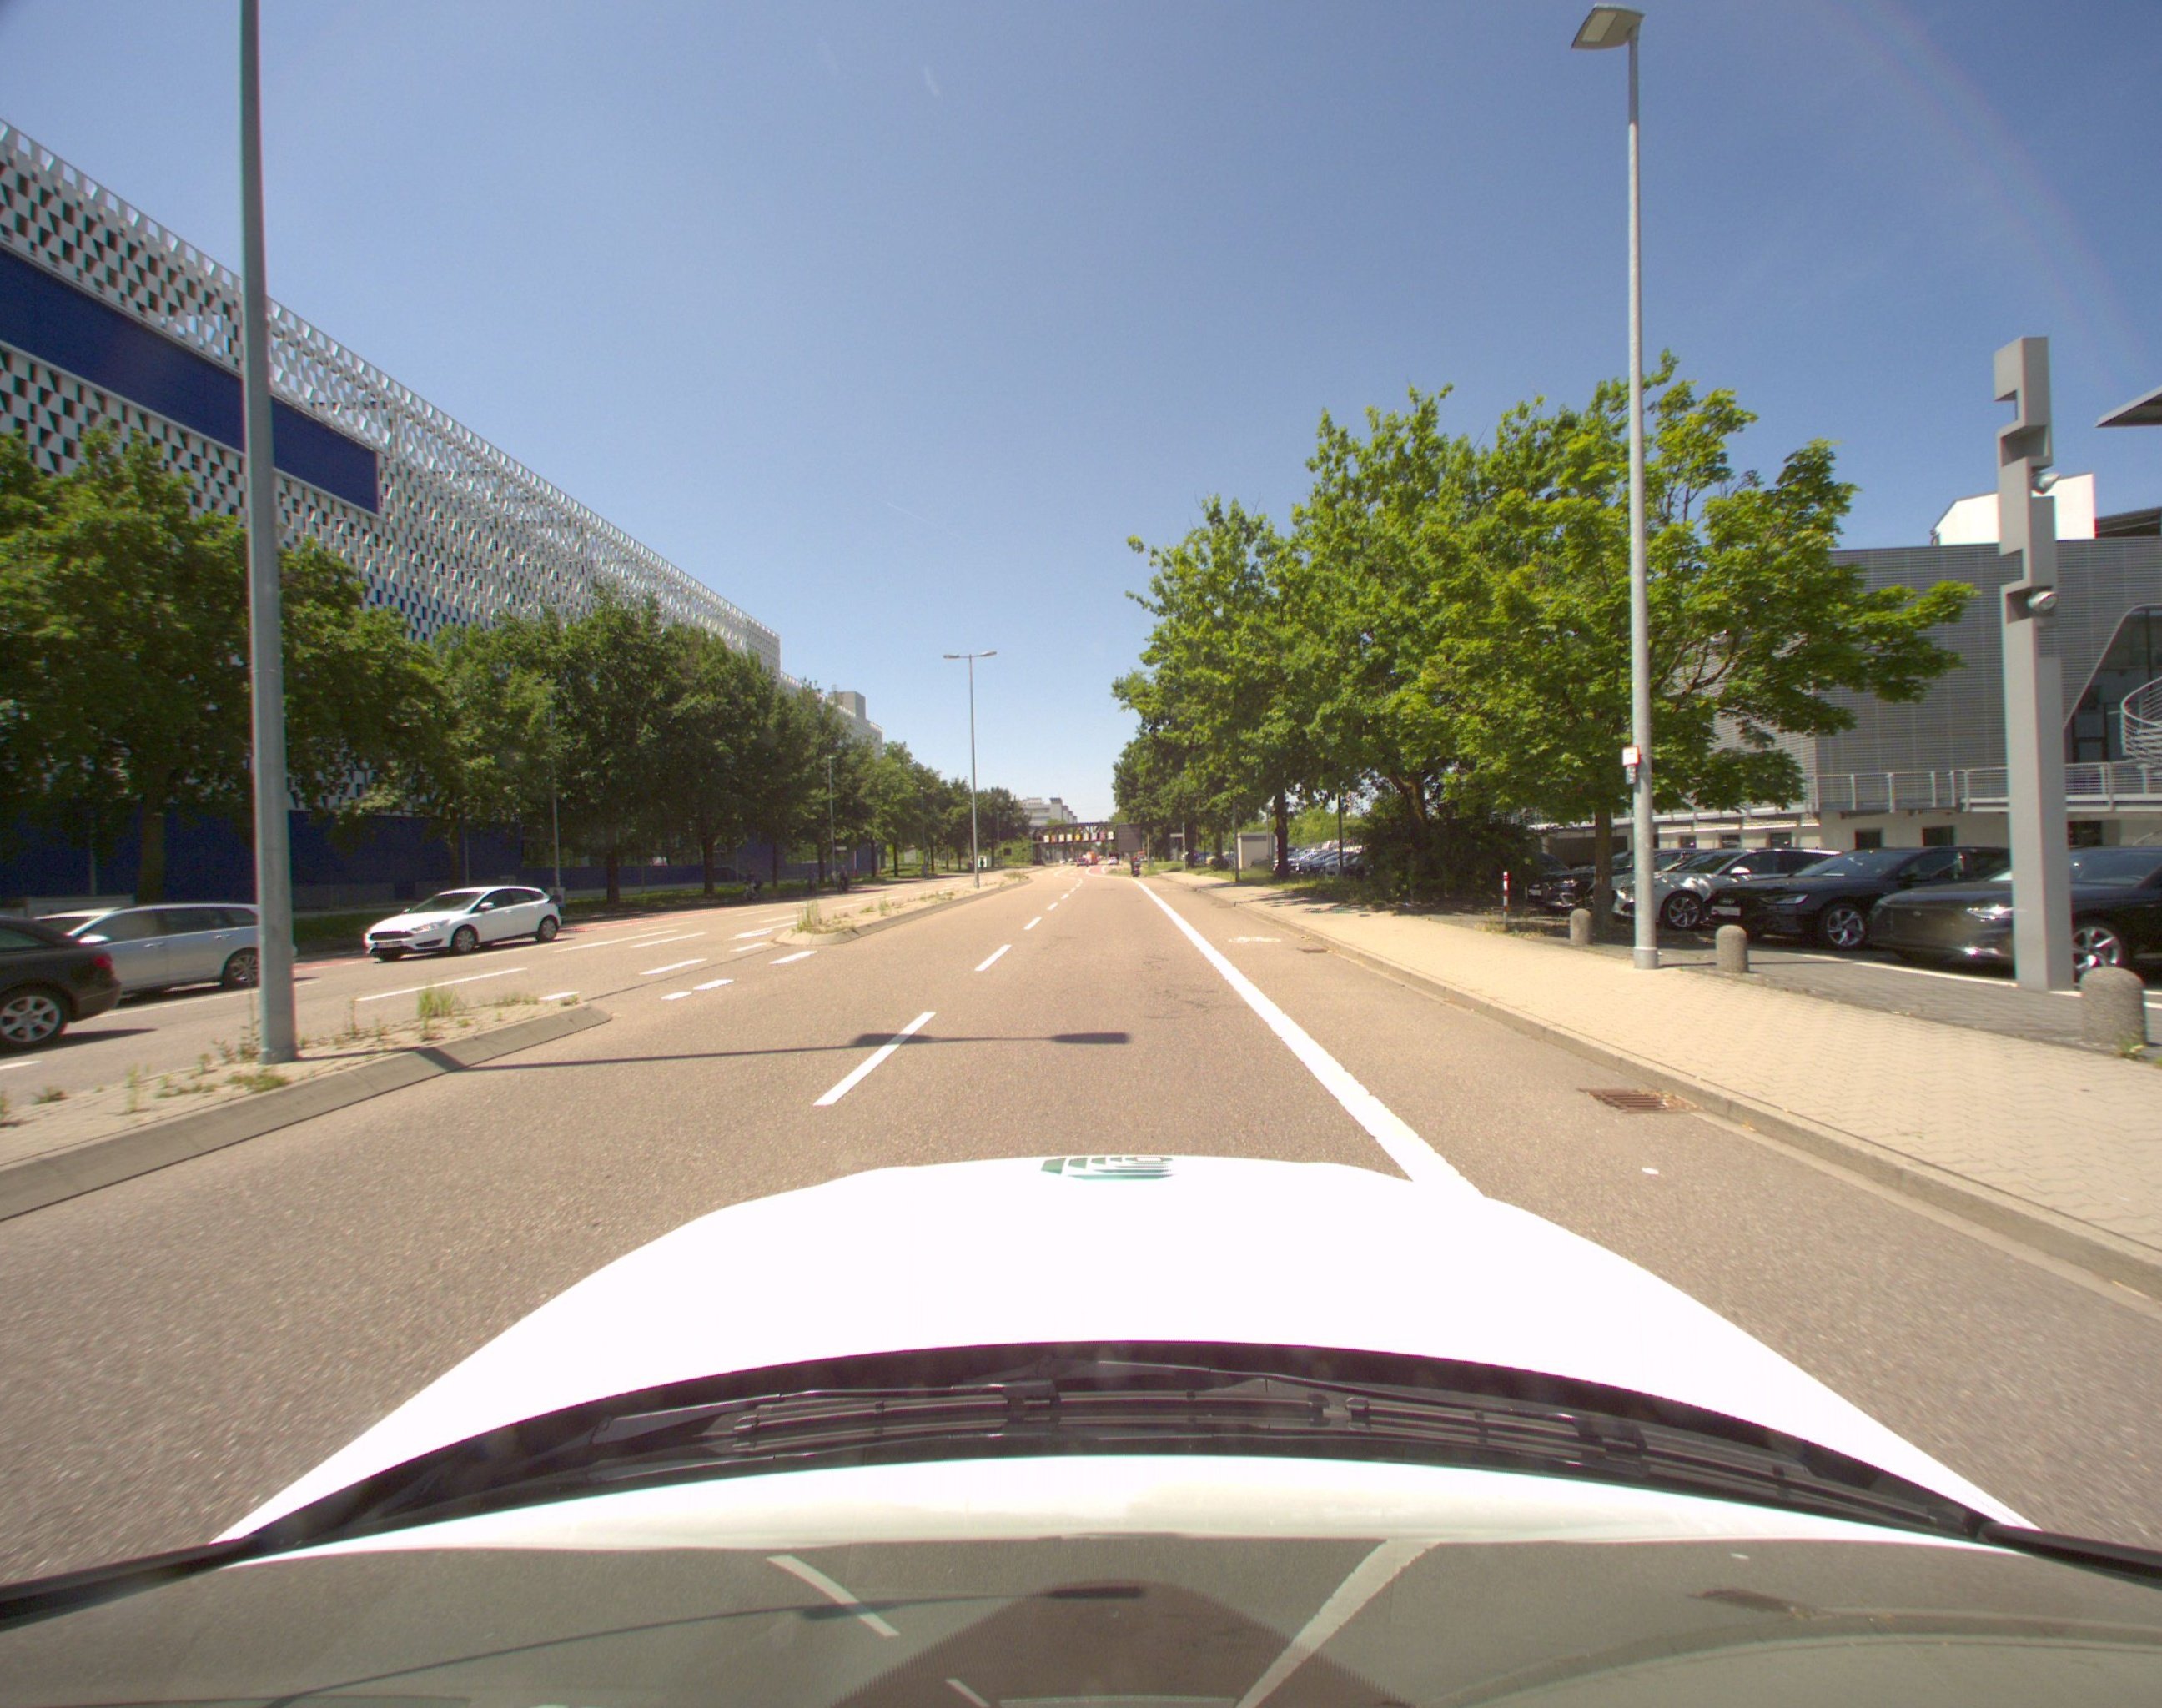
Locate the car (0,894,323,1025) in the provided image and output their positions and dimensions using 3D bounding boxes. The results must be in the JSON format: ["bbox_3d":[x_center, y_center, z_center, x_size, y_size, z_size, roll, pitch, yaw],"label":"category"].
[{"bbox_3d":[-14.365,1.474,12.105,1.740,1.422,4.624,-3,0,1],"label":"car"}]

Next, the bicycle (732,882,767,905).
[{"bbox_3d":[-17.958,2.144,44.169,0.736,1.125,2.437,-2,0,5],"label":"bicycle"}]

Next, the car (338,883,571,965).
[{"bbox_3d":[-14.035,1.490,18.647,1.720,1.446,4.453,-4,-1,2],"label":"car"}]

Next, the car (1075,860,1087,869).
[{"bbox_3d":[0.066,1.647,133.470,1.894,1.376,4.232,-2,0,1],"label":"car"}]

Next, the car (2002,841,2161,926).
[{"bbox_3d":[22.054,0.601,16.810,3.970,1.654,1.851,1,0,1],"label":"car"}]

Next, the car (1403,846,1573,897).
[{"bbox_3d":[12.733,0.543,25.667,4.432,1.393,1.834,2,0,1],"label":"car"}]

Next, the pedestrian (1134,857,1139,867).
[{"bbox_3d":[7.375,1.053,107.696,0.621,1.374,0.564,-1,-1,0],"label":"pedestrian"}]

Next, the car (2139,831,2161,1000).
[{"bbox_3d":[10.997,0.533,5.945,4.085,1.405,1.869,1,0,1],"label":"car"}]

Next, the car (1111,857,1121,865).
[{"bbox_3d":[6.666,1.375,155.053,1.917,1.420,4.001,-1,0,1],"label":"car"}]

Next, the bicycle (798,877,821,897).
[{"bbox_3d":[-16.921,2.052,50.829,0.634,1.134,1.973,-2,0,4],"label":"bicycle"}]

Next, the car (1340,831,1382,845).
[{"bbox_3d":[30.311,-1.705,88.256,3.977,1.312,1.795,-2,0,-3],"label":"car"}]

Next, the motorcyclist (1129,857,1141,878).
[{"bbox_3d":[4.019,0.988,60.241,0.719,1.529,0.868,0,-1,-8],"label":"motorcyclist"}]

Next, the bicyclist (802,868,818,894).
[{"bbox_3d":[-16.936,1.671,50.869,0.634,1.582,0.885,-2,-1,4],"label":"bicyclist"}]

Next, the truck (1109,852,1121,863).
[{"bbox_3d":[7.374,0.775,176.793,2.449,2.410,7.136,0,0,2],"label":"truck"}]

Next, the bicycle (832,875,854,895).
[{"bbox_3d":[-15.149,1.985,51.910,0.626,1.159,2.118,-4,0,1],"label":"bicycle"}]

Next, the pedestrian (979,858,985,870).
[{"bbox_3d":[-15.714,1.534,128.930,0.741,1.884,0.578,-2,-1,2],"label":"pedestrian"}]

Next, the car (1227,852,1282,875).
[{"bbox_3d":[14.114,0.765,66.351,3.977,1.618,1.796,3,-1,-3],"label":"car"}]

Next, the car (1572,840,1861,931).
[{"bbox_3d":[11.018,0.527,14.340,3.668,1.453,1.834,1,0,1],"label":"car"}]

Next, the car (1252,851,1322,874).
[{"bbox_3d":[13.717,0.576,54.469,4.205,1.342,1.918,2,0,1],"label":"car"}]

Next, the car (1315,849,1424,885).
[{"bbox_3d":[12.834,0.554,36.420,4.205,1.407,1.918,2,0,1],"label":"car"}]

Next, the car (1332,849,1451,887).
[{"bbox_3d":[12.860,0.568,33.915,4.205,1.407,1.918,2,0,1],"label":"car"}]

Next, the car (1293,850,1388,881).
[{"bbox_3d":[13.121,0.590,41.403,4.205,1.369,1.989,2,0,1],"label":"car"}]

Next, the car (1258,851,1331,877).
[{"bbox_3d":[13.626,0.620,52.090,4.205,1.452,1.918,2,0,1],"label":"car"}]

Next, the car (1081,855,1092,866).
[{"bbox_3d":[0.985,1.180,150.137,1.986,2.014,4.001,-1,0,1],"label":"car"}]

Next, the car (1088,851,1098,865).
[{"bbox_3d":[2.538,0.771,171.778,2.065,2.854,6.766,-2,0,1],"label":"car"}]

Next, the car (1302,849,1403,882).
[{"bbox_3d":[12.909,0.550,38.944,4.205,1.407,1.918,2,0,1],"label":"car"}]

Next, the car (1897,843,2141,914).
[{"bbox_3d":[22.167,0.562,19.364,3.884,1.584,1.641,1,0,1],"label":"car"}]

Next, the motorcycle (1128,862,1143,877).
[{"bbox_3d":[4.029,1.165,60.189,0.716,1.105,1.825,0,-1,-8],"label":"motorcycle"}]

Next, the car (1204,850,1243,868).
[{"bbox_3d":[15.259,0.537,87.359,3.852,1.604,1.796,3,-1,-3],"label":"car"}]

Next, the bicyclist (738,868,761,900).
[{"bbox_3d":[-17.974,1.617,44.197,0.741,1.685,0.953,-2,-1,5],"label":"bicyclist"}]

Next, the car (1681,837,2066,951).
[{"bbox_3d":[11.015,0.525,11.552,3.668,1.453,1.834,1,0,1],"label":"car"}]

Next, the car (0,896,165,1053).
[{"bbox_3d":[-11.215,1.210,6.754,1.719,1.446,4.722,-4,-1,3],"label":"car"}]

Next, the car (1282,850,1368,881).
[{"bbox_3d":[13.167,0.614,44.119,4.114,1.380,1.779,3,0,1],"label":"car"}]

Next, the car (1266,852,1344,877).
[{"bbox_3d":[13.562,0.630,49.459,4.205,1.342,1.918,2,0,1],"label":"car"}]

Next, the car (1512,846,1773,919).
[{"bbox_3d":[11.610,0.560,17.067,4.216,1.401,1.817,1,0,1],"label":"car"}]

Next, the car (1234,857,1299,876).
[{"bbox_3d":[12.940,0.866,57.019,4.205,1.342,1.918,0,0,1],"label":"car"}]

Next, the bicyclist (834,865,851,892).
[{"bbox_3d":[-15.178,1.566,51.868,0.631,1.629,1.045,-4,-1,1],"label":"bicyclist"}]

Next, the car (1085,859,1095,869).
[{"bbox_3d":[1.828,1.919,162.423,1.888,1.816,4.001,-2,0,1],"label":"car"}]

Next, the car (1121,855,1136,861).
[{"bbox_3d":[13.291,1.150,228.646,3.966,1.750,1.896,-2,-1,6],"label":"car"}]

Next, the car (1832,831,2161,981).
[{"bbox_3d":[11.078,0.525,8.861,4.085,1.453,1.869,1,0,1],"label":"car"}]

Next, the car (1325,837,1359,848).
[{"bbox_3d":[30.750,-1.343,95.900,3.512,1.239,1.541,0,-1,-1],"label":"car"}]
